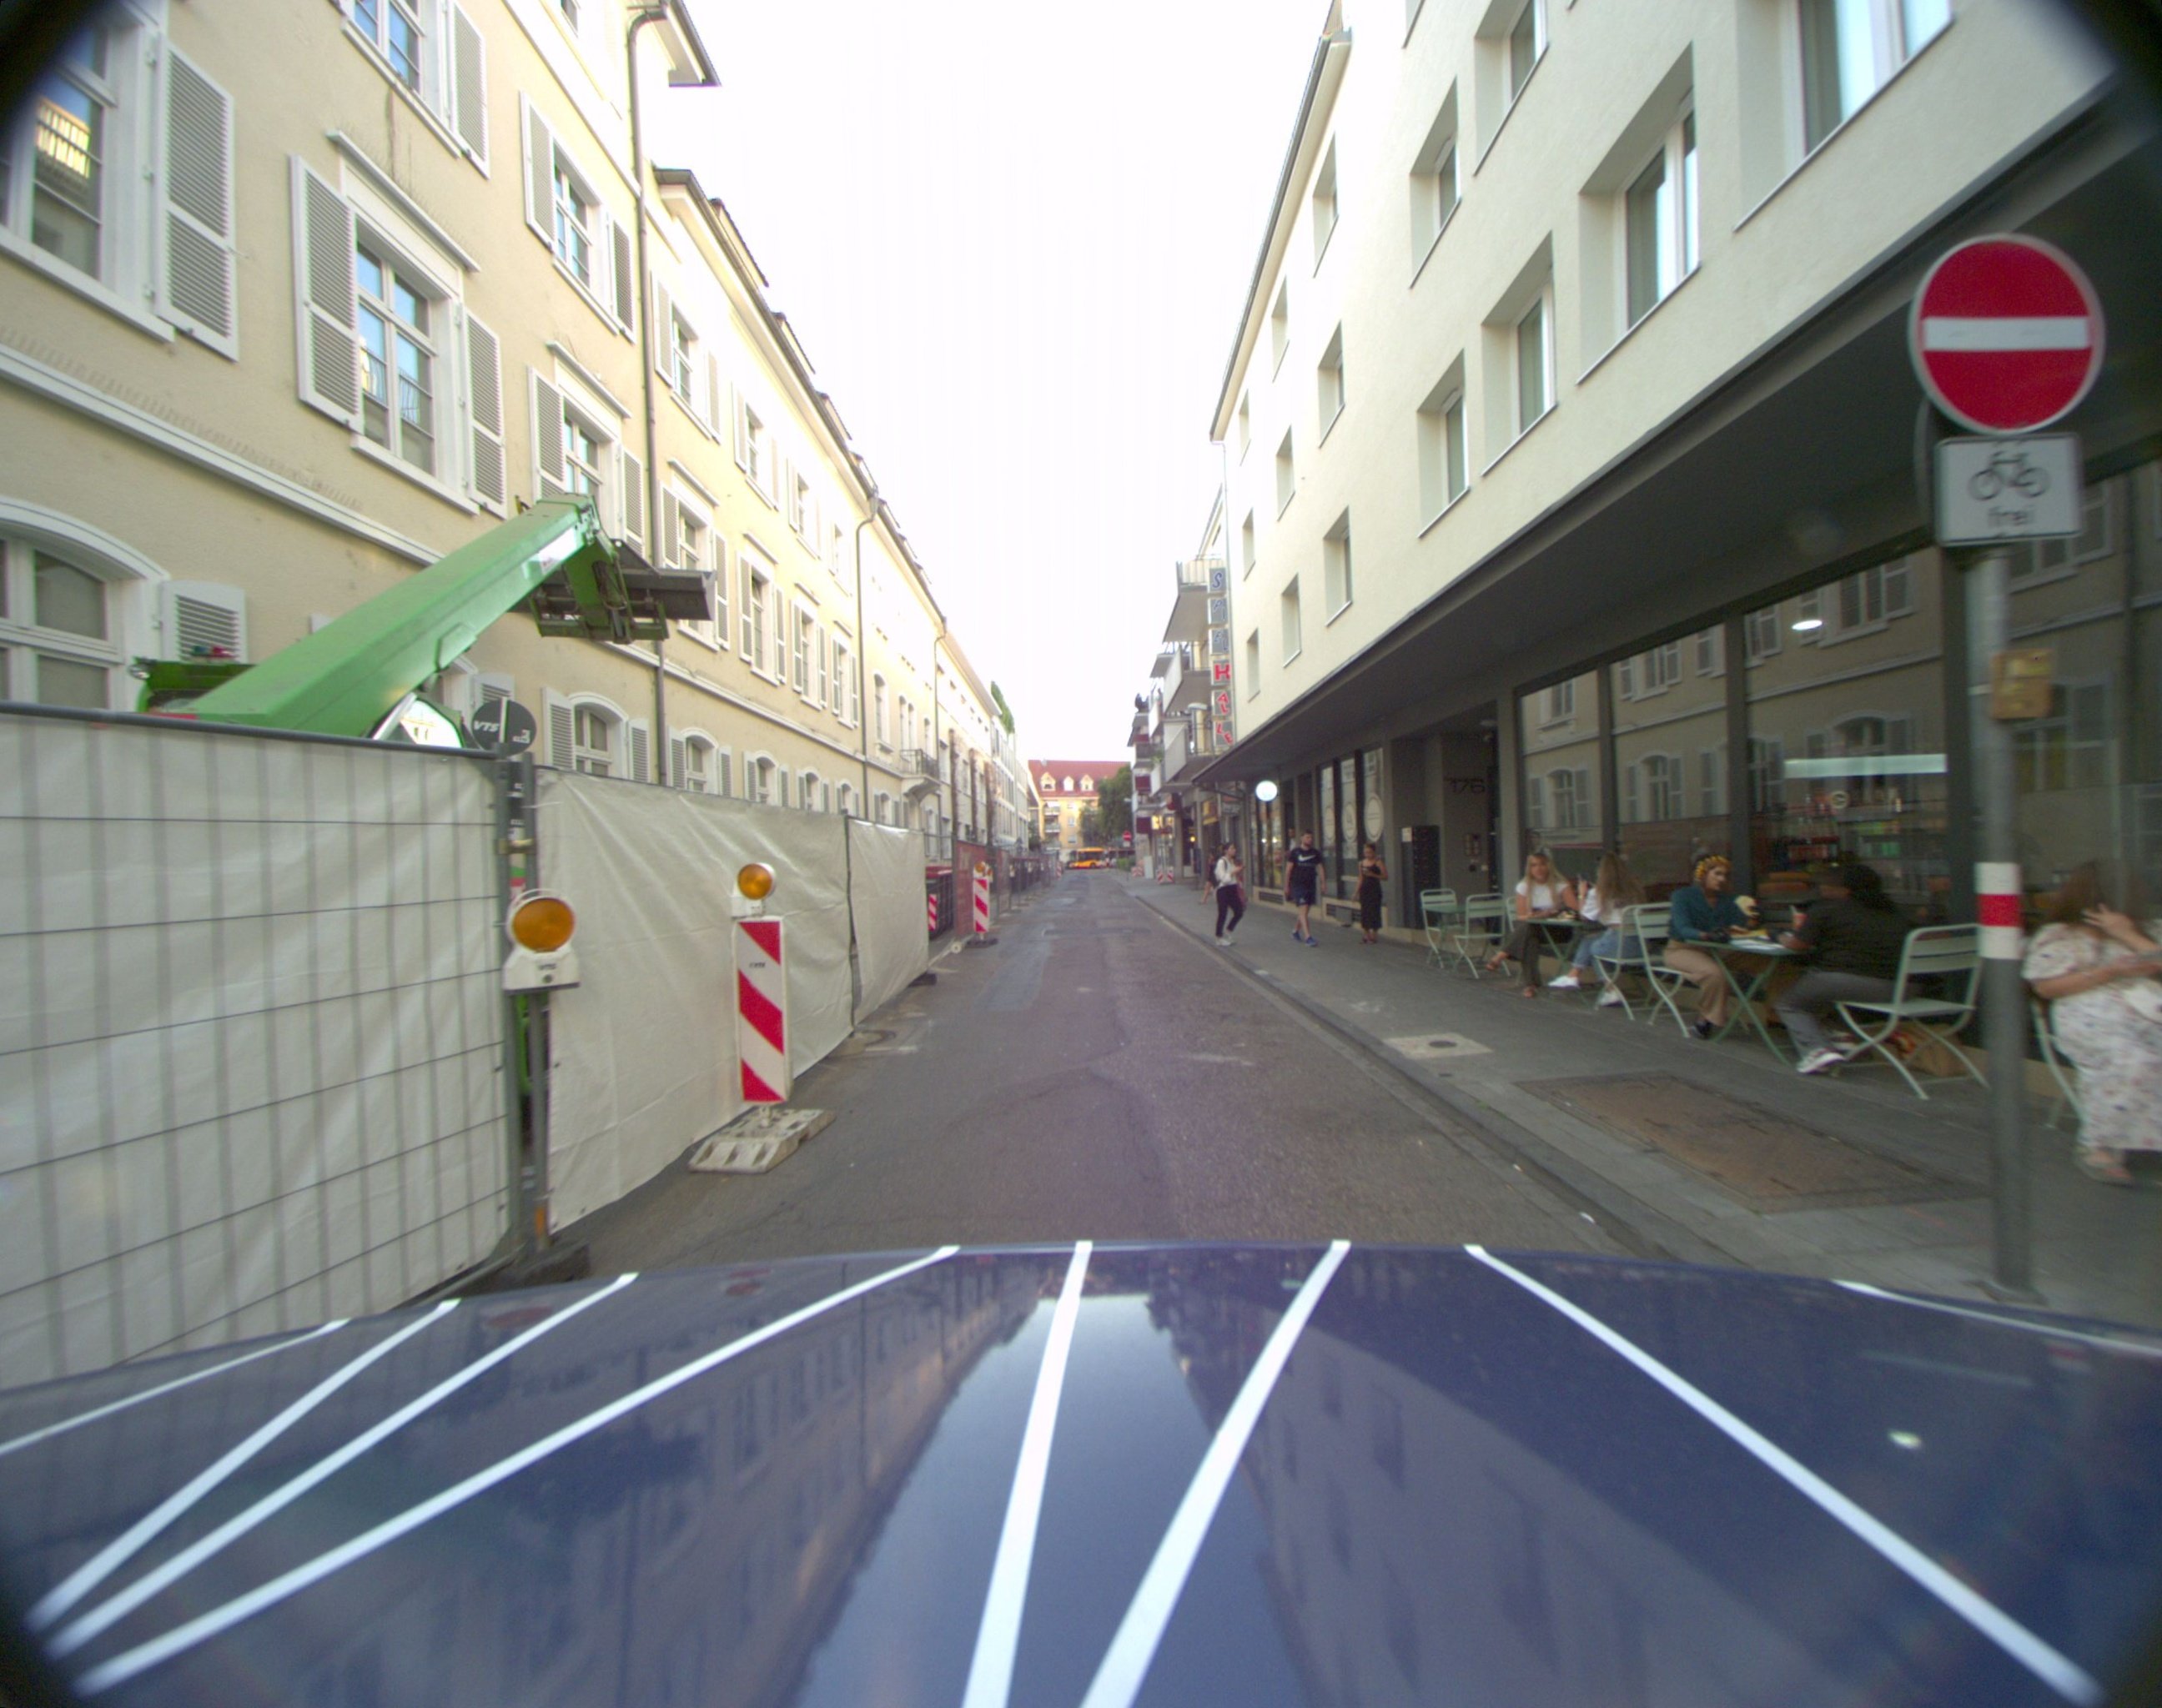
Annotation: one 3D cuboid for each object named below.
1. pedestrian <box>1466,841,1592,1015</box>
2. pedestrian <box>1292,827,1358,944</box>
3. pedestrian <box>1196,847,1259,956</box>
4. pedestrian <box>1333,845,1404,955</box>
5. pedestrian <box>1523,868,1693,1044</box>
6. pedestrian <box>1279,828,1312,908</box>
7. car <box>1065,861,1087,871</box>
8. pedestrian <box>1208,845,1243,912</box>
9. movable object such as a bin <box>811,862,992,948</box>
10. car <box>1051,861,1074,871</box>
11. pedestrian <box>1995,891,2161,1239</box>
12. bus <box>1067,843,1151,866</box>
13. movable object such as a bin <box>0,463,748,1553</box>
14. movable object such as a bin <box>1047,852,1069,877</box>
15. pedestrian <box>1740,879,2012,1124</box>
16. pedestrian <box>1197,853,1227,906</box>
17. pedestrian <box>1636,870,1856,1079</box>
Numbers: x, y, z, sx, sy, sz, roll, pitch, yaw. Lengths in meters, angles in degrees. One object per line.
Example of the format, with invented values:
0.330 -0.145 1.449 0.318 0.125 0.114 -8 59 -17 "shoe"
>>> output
4.217 0.669 7.218 0.705 1.538 0.861 -3 0 8 "pedestrian"
3.966 0.496 12.413 0.716 1.800 0.933 -3 0 1 "pedestrian"
2.390 0.754 12.472 0.759 1.729 0.784 0 0 -12 "pedestrian"
4.319 0.675 11.433 0.659 1.560 0.637 -4 0 -26 "pedestrian"
4.283 0.775 6.208 0.707 1.278 0.859 -3 0 -24 "pedestrian"
4.919 0.315 17.455 0.545 1.800 0.613 -1 0 0 "pedestrian"
-0.842 1.873 120.896 1.795 1.466 3.991 -1 0 -27 "car"
3.949 0.650 20.834 0.706 1.771 0.932 -3 0 0 "pedestrian"
-4.035 1.075 18.926 2.898 1.655 7.293 -1 -1 -1 "movable object such as a bin"
-2.880 1.919 119.804 1.795 1.466 3.990 -1 0 -33 "car"
4.297 0.777 2.985 0.704 1.212 0.843 -2 0 37 "pedestrian"
4.435 0.056 117.586 12.549 3.306 3.917 -1 1 -24 "bus"
-4.228 0.431 3.958 2.642 2.855 5.564 -1 0 -2 "movable object such as a bin"
-2.587 1.201 86.534 2.096 2.631 4.373 -3 0 1 "movable object such as a bin"
4.394 0.776 4.262 0.705 1.188 0.691 -5 0 3 "pedestrian"
4.028 0.767 23.354 0.710 1.569 0.613 -4 0 -3 "pedestrian"
4.429 0.766 5.127 0.705 1.232 0.778 -5 0 3 "pedestrian"
